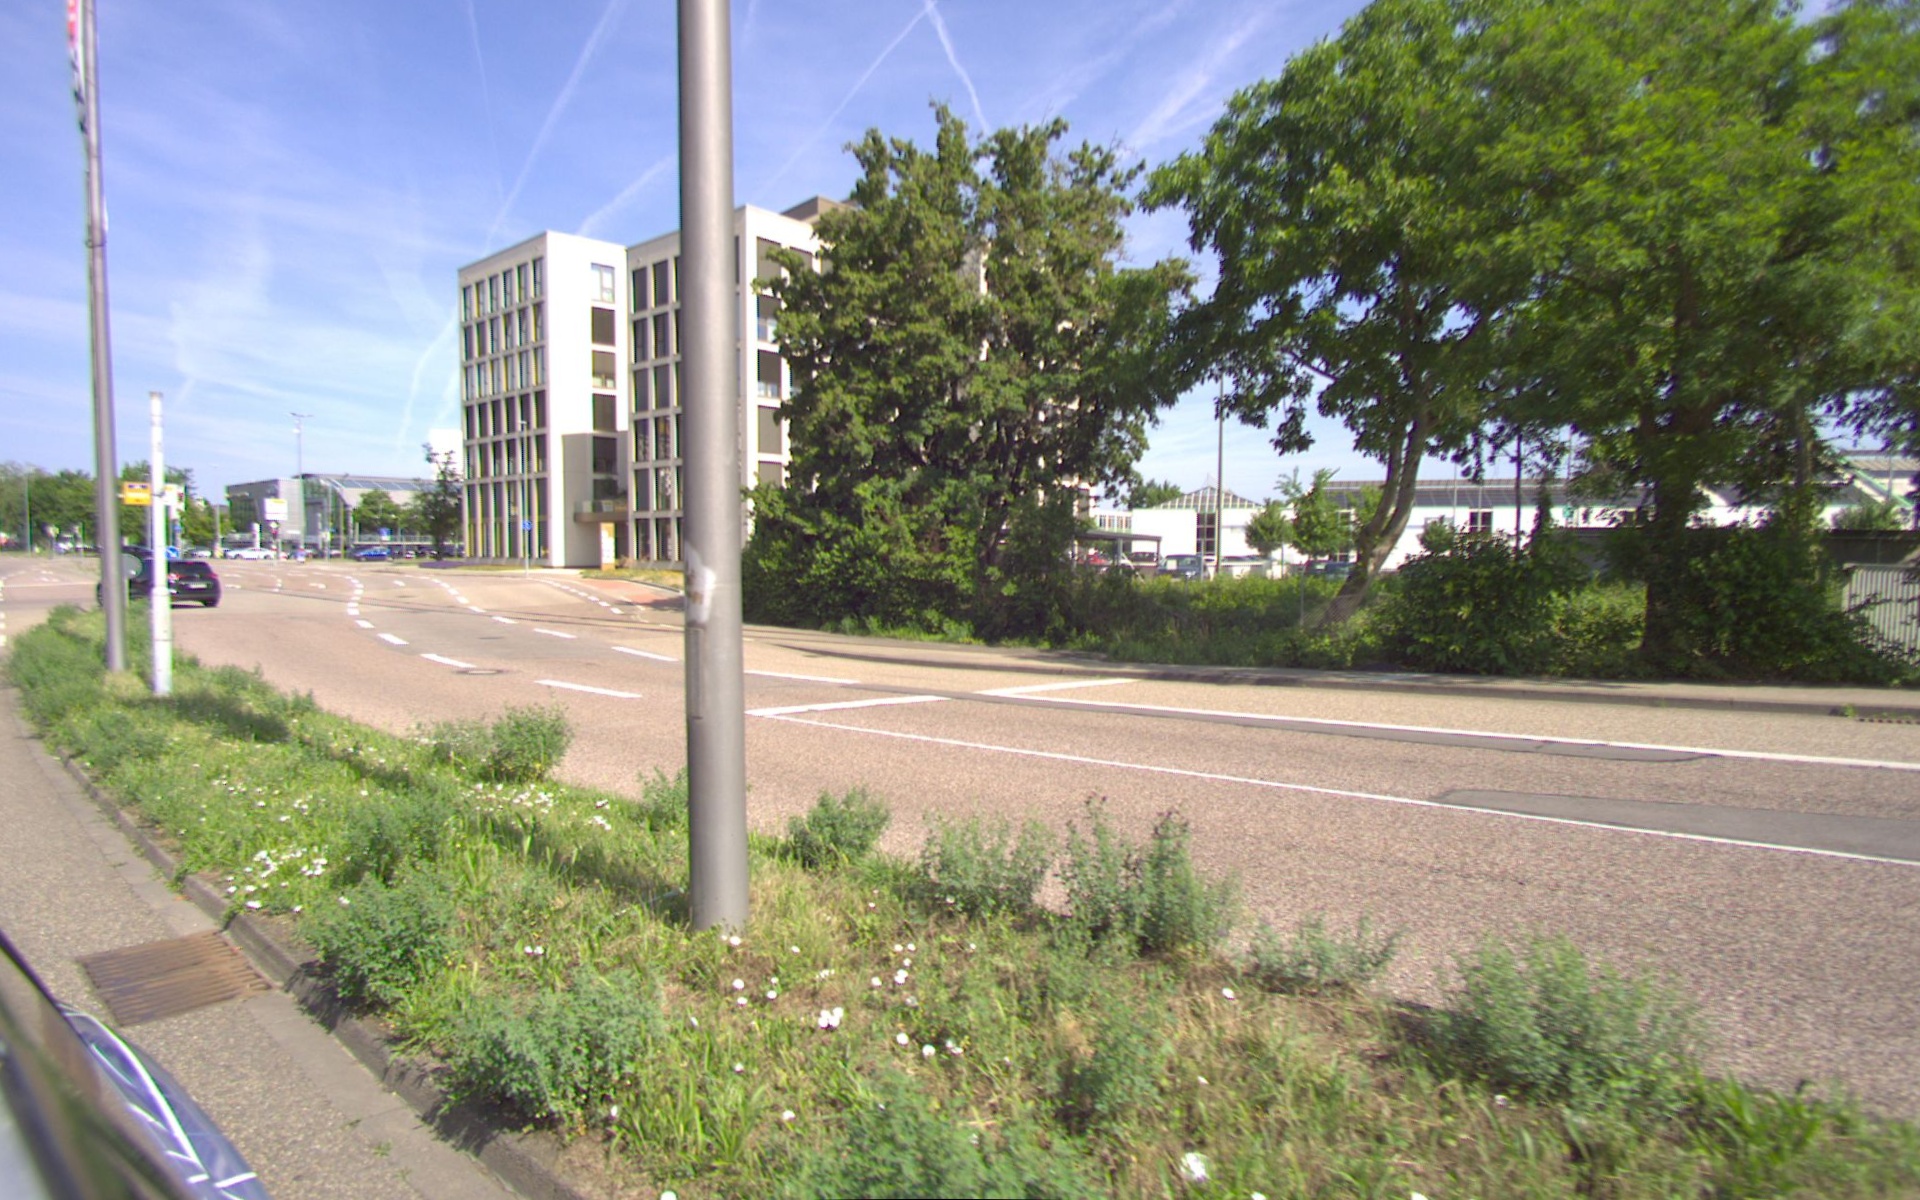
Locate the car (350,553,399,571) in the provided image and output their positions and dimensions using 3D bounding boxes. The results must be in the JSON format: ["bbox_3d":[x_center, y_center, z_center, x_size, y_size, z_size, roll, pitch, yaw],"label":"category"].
[{"bbox_3d":[-64.625,-4.185,111.727,4.328,1.861,1.814,-1,3,-42],"label":"car"}]

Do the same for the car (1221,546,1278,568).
[{"bbox_3d":[21.677,-3.205,75.815,3.769,1.572,1.761,2,3,41],"label":"car"}]

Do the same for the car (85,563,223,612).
[{"bbox_3d":[-27.010,-0.430,33.927,4.115,1.540,1.849,1,2,22],"label":"car"}]

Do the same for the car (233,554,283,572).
[{"bbox_3d":[-74.835,-3.985,107.979,4.322,1.861,1.817,-1,2,-33],"label":"car"}]

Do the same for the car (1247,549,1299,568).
[{"bbox_3d":[25.973,-3.465,84.098,3.769,1.572,1.761,2,3,41],"label":"car"}]

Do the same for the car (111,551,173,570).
[{"bbox_3d":[-78.760,-3.796,97.532,4.319,1.861,1.818,0,2,-23],"label":"car"}]

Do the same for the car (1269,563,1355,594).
[{"bbox_3d":[16.702,-1.005,48.117,3.595,1.408,1.546,0,3,34],"label":"car"}]
